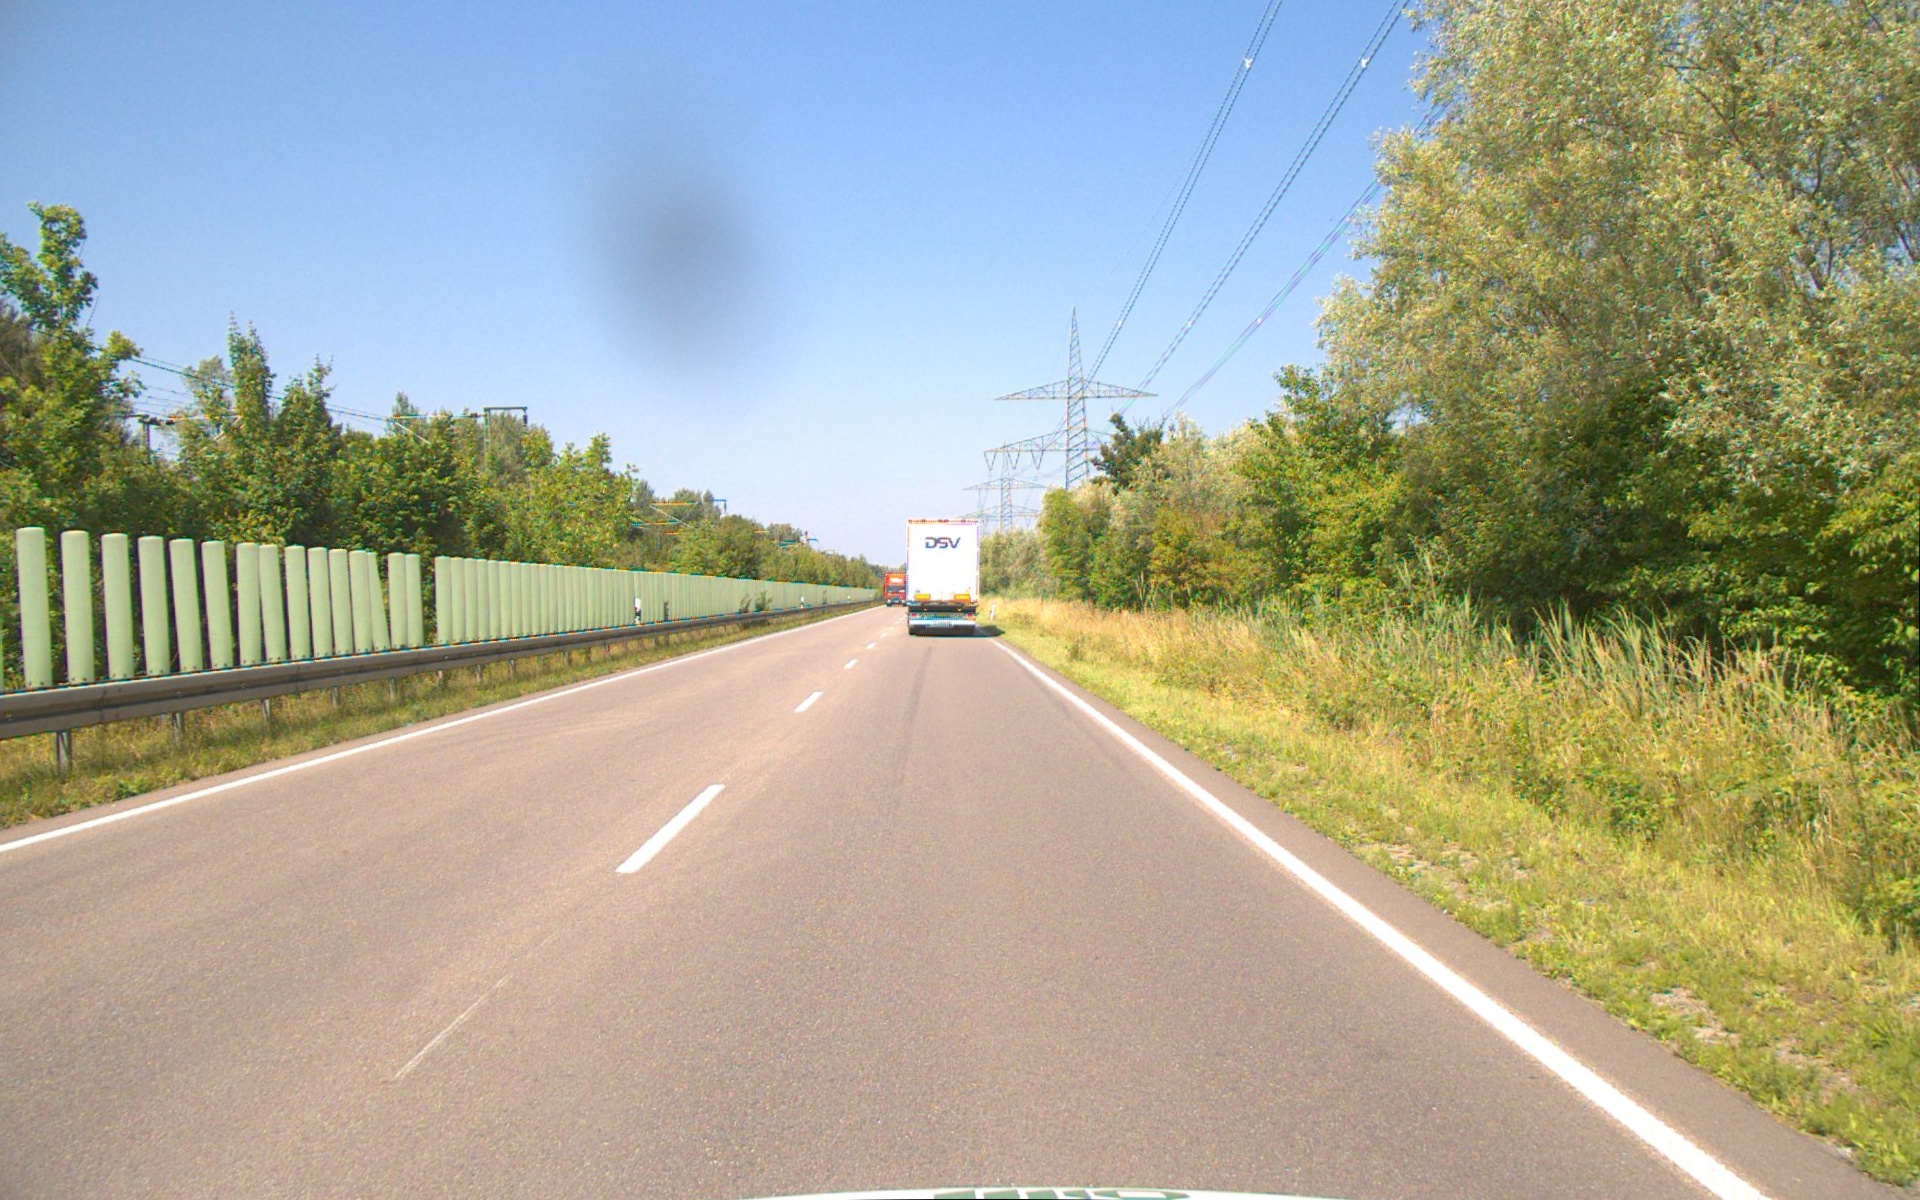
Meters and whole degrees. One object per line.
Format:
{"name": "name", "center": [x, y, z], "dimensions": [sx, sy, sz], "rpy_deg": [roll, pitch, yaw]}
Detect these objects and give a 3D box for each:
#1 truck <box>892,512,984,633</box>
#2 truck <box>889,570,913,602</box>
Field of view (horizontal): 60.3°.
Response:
{"name": "truck", "center": [-0.912, -0.972, 62.518], "dimensions": [3.127, 4.113, 12.003], "rpy_deg": [0, 0, -2]}
{"name": "truck", "center": [-6.867, -1.587, 192.182], "dimensions": [2.679, 3.662, 9.524], "rpy_deg": [0, 0, -2]}
